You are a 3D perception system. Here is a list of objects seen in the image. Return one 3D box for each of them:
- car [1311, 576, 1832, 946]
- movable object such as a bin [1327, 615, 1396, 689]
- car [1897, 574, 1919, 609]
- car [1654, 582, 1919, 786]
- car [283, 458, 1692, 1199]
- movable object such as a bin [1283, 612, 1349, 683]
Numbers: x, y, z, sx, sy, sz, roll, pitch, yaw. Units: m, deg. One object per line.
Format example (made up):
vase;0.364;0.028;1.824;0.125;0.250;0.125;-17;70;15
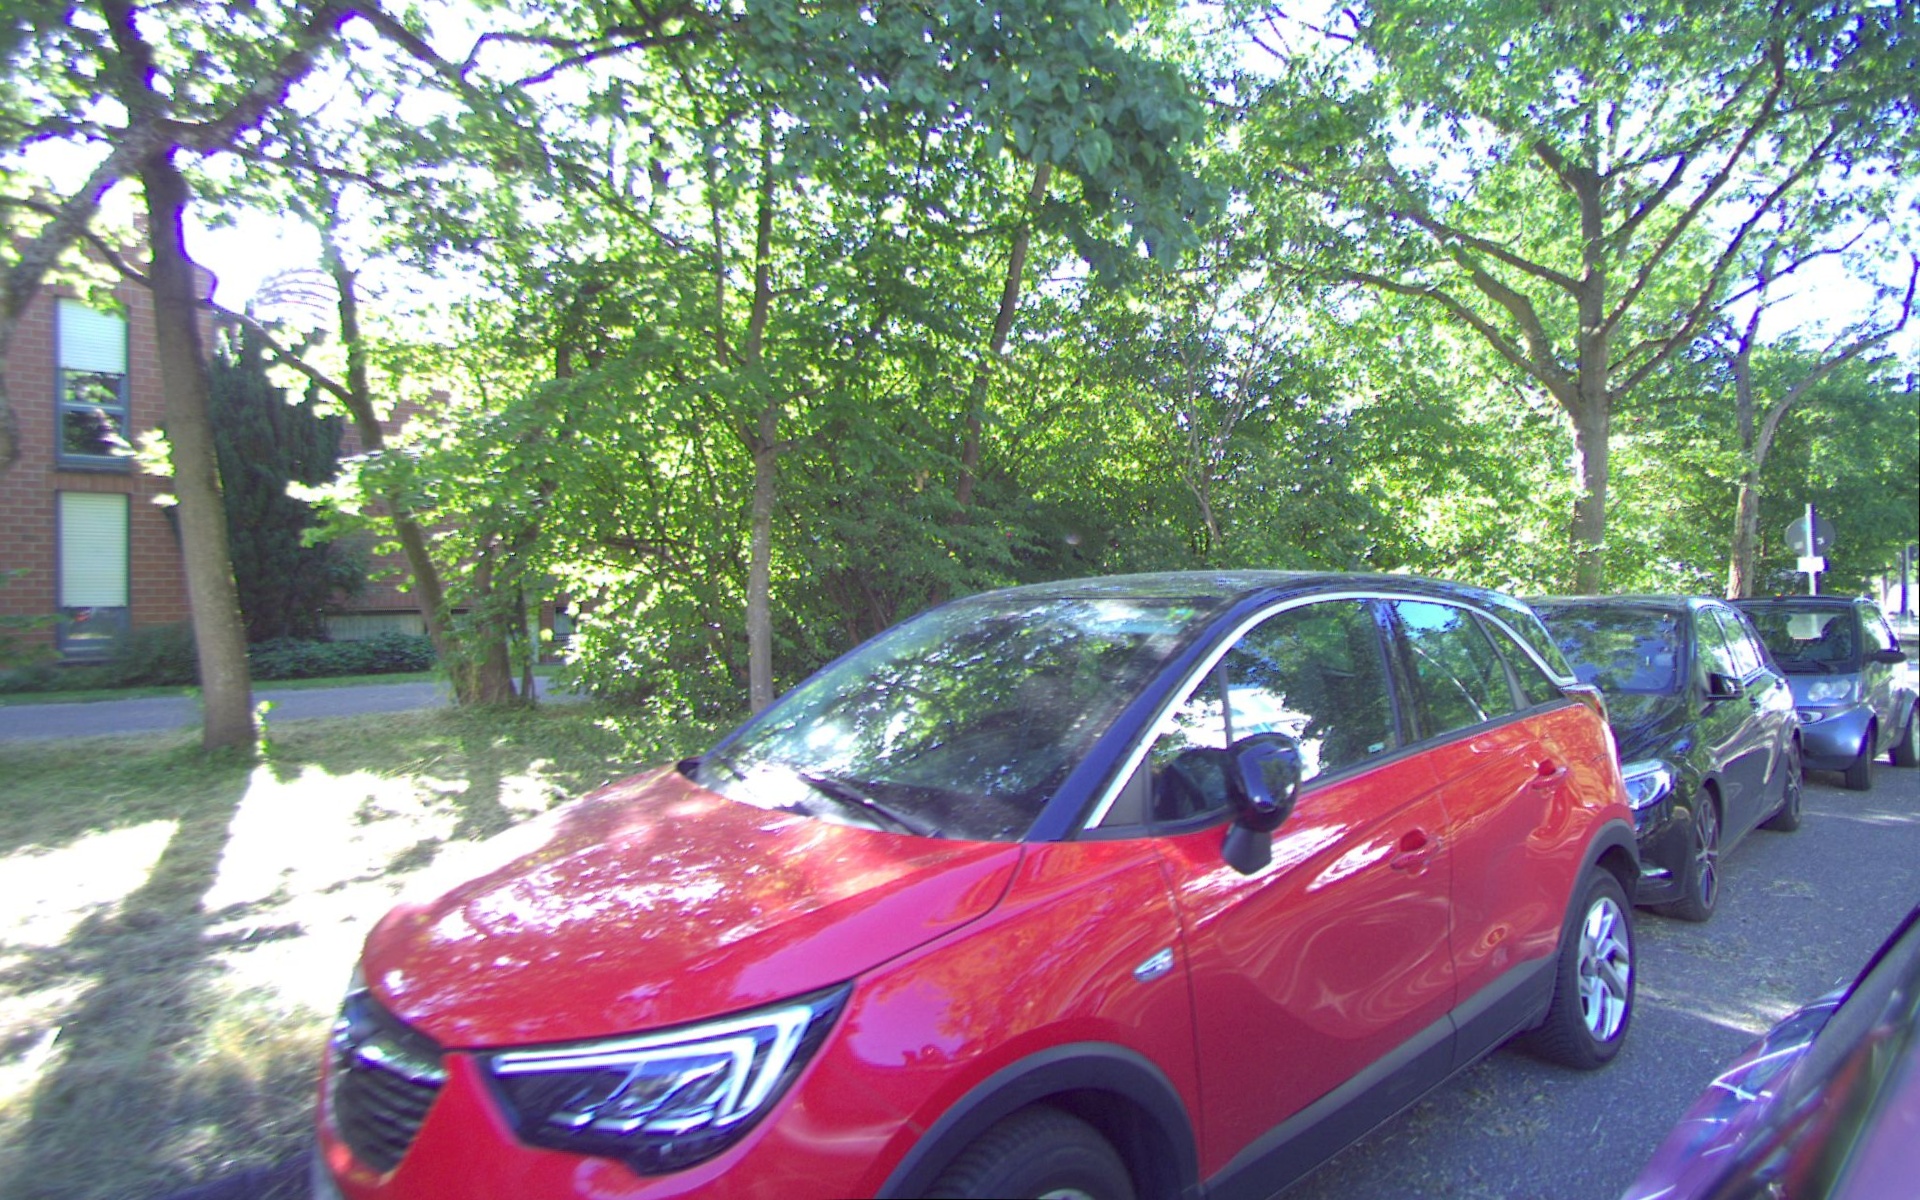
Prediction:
car;3.957;0.658;6.224;4.080;1.528;1.713;0;0;-43
movable object such as a bin;5.478;0.698;13.812;0.454;0.891;0.729;-7;6;-34
car;58.955;-0.454;59.648;1.966;2.029;5.264;0;2;-42
car;7.534;0.627;9.021;2.628;1.528;1.497;0;0;-38
car;0.504;0.645;2.949;3.994;1.594;1.682;0;0;-40
movable object such as a bin;5.071;0.667;14.429;0.454;0.891;0.729;-7;6;-34
